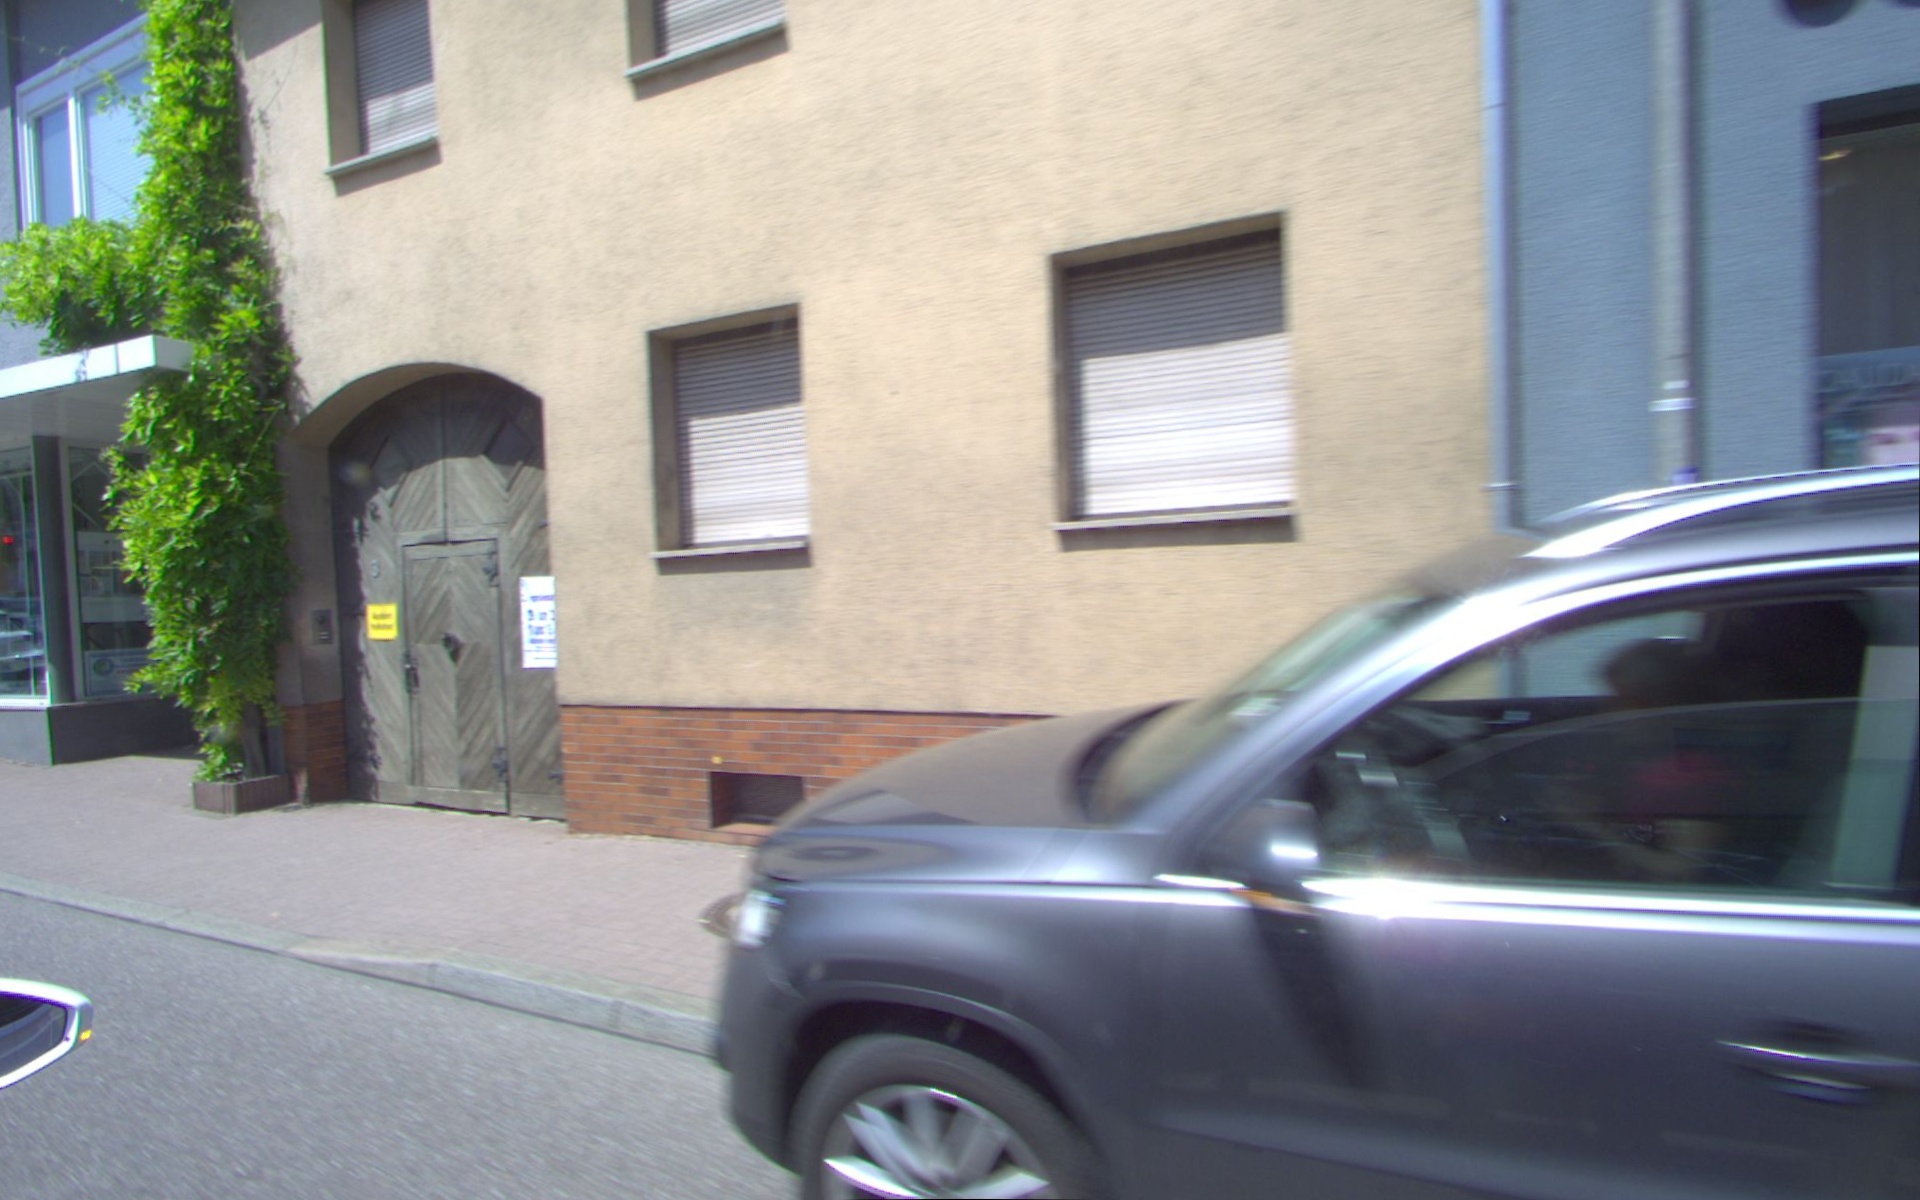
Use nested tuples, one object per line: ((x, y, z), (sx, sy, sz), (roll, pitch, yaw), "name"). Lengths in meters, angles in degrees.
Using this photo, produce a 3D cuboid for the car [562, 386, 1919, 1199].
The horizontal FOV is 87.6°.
((1.368, 0.565, 2.212), (4.038, 1.732, 1.990), (-1, 3, 29), "car")
